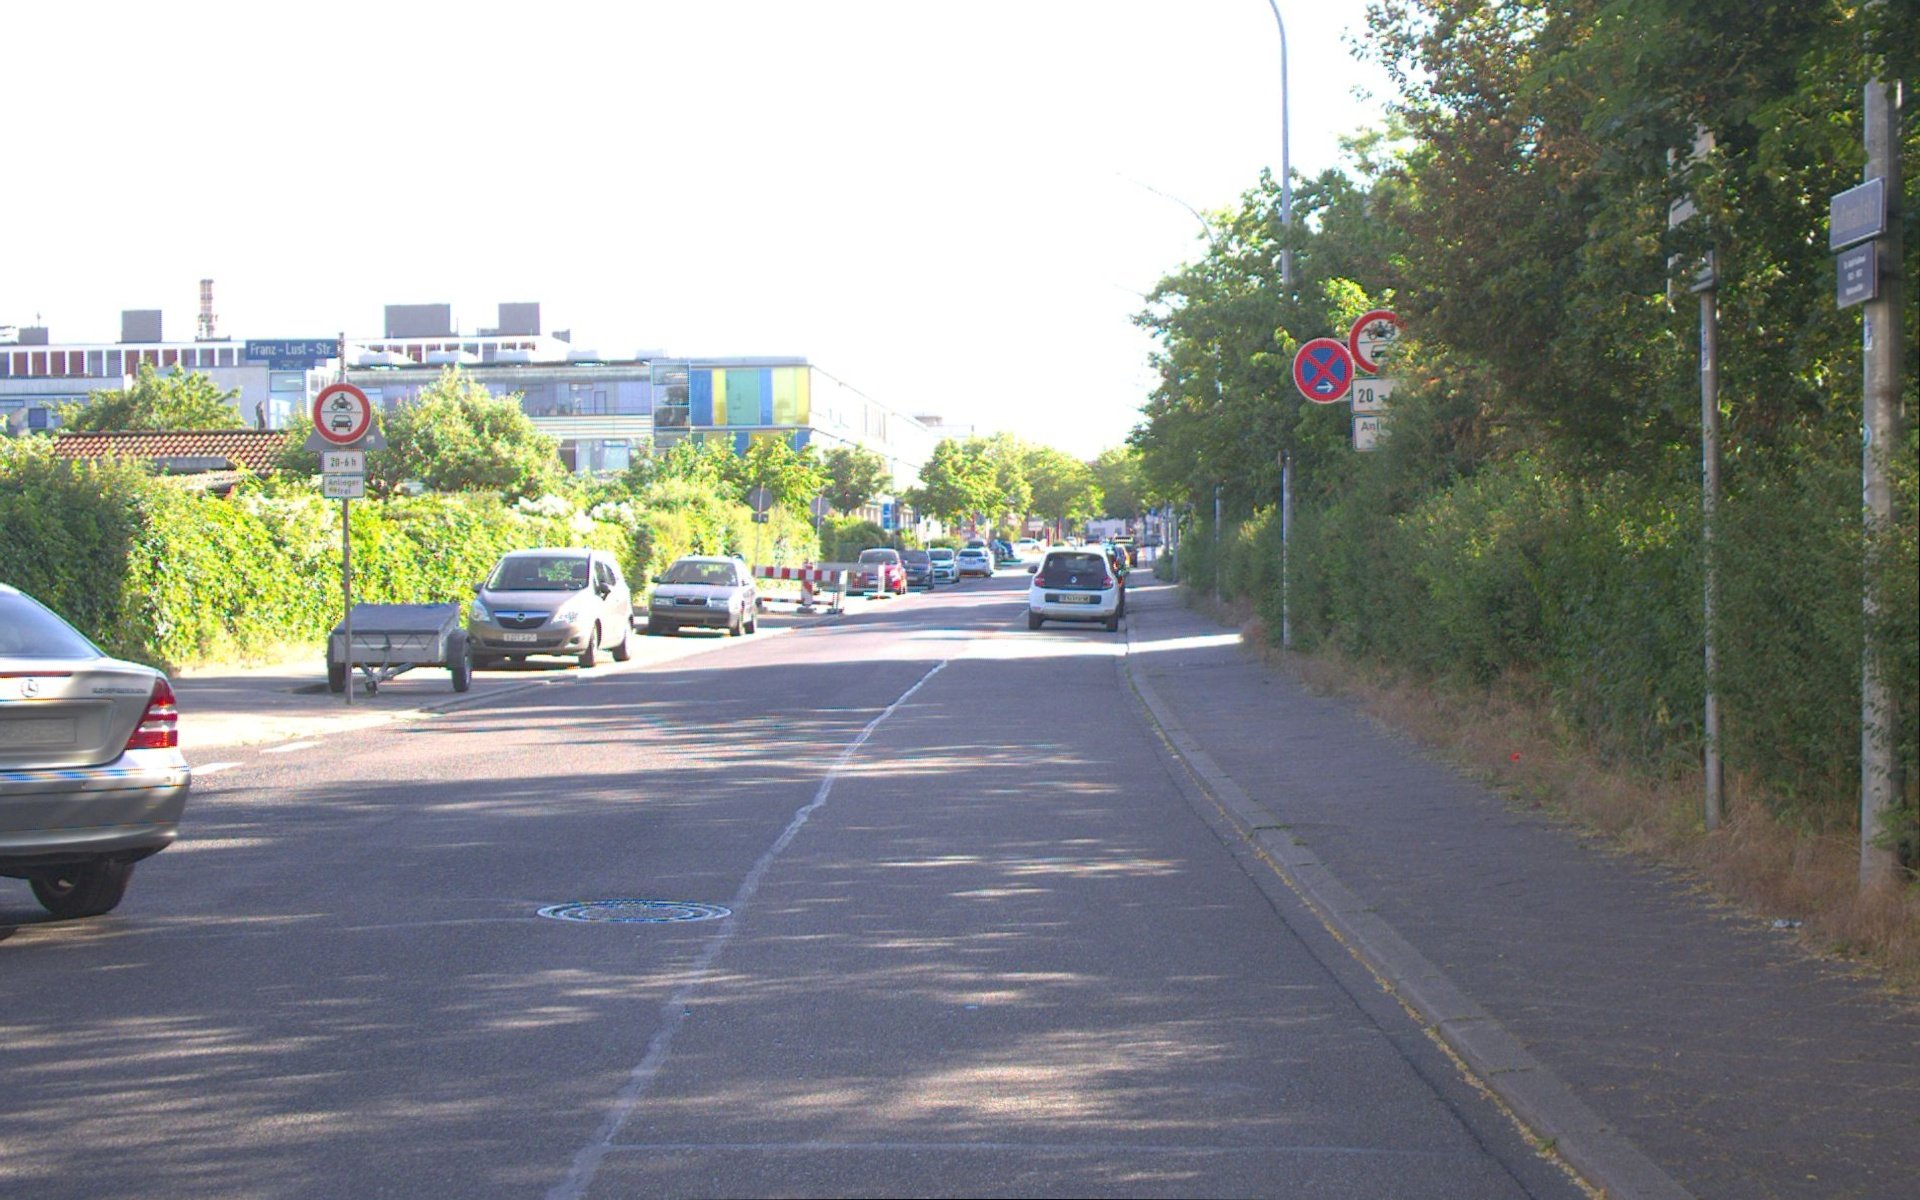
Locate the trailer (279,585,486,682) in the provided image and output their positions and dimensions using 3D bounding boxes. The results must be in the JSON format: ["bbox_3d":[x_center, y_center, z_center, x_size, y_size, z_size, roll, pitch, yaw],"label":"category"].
[{"bbox_3d":[-6.197,0.347,37.113,1.544,0.950,2.646,2,0,5],"label":"trailer"}]

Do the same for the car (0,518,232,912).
[{"bbox_3d":[-4.805,0.433,14.191,1.738,1.448,3.998,-1,0,-42],"label":"car"}]

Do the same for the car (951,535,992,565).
[{"bbox_3d":[0.591,-2.558,176.300,1.854,1.423,4.134,2,0,3],"label":"car"}]

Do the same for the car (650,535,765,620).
[{"bbox_3d":[-4.734,-0.428,64.962,1.643,1.551,4.417,0,0,3],"label":"car"}]

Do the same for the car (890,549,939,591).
[{"bbox_3d":[-1.696,-1.122,129.973,1.560,1.489,3.570,3,0,3],"label":"car"}]

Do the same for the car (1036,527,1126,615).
[{"bbox_3d":[2.304,-0.544,64.813,1.556,1.533,3.555,3,0,3],"label":"car"}]

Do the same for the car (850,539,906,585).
[{"bbox_3d":[-2.656,-1.223,111.764,1.560,1.489,3.570,0,0,3],"label":"car"}]

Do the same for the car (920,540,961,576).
[{"bbox_3d":[-0.827,-1.787,146.993,1.560,1.489,3.758,0,0,3],"label":"car"}]

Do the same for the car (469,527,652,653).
[{"bbox_3d":[-5.458,-0.147,47.439,1.644,1.594,4.311,2,1,5],"label":"car"}]
